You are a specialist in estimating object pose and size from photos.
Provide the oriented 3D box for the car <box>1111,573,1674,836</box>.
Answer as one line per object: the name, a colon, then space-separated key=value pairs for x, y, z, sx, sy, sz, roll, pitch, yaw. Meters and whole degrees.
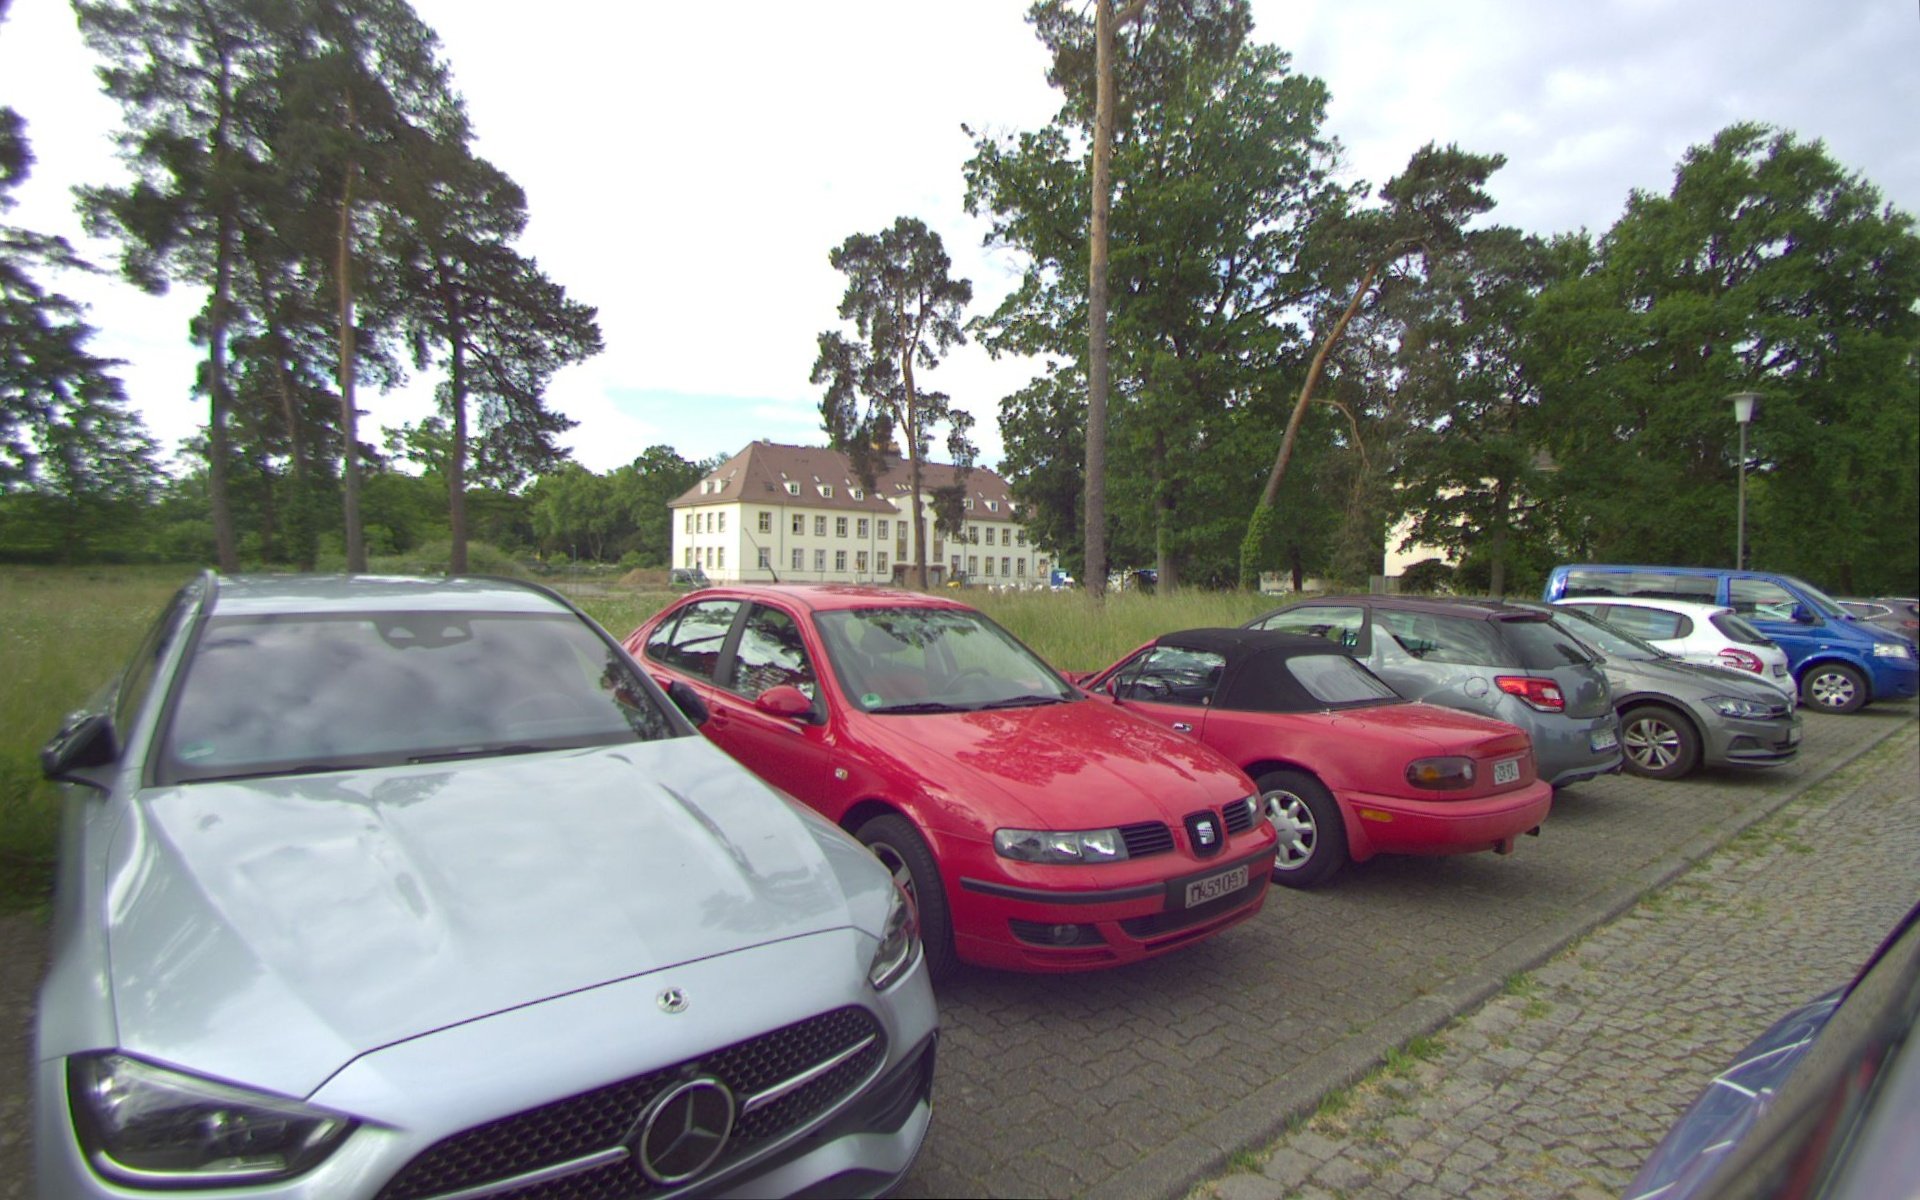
car: x=3.320 y=0.618 z=8.349 sx=1.728 sy=1.490 sz=3.870 roll=0 pitch=3 yaw=-42

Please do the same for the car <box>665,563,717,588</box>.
car: x=-27.122 y=-2.440 z=101.795 sx=5.848 sy=2.269 sz=2.282 roll=4 pitch=3 yaw=43

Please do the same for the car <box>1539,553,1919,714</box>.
car: x=11.754 y=0.359 z=15.251 sx=1.969 sy=1.969 sz=4.817 roll=0 pitch=3 yaw=-42

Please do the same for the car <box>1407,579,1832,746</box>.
car: x=7.674 y=0.595 z=12.091 sx=1.726 sy=1.490 sz=3.872 roll=0 pitch=3 yaw=-39

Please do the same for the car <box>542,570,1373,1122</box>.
car: x=-0.435 y=0.660 z=5.116 sx=1.838 sy=1.434 sz=4.271 roll=0 pitch=3 yaw=-41

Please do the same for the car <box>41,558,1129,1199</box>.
car: x=-1.794 y=0.664 z=3.405 sx=1.840 sy=1.434 sz=4.428 roll=0 pitch=3 yaw=-43

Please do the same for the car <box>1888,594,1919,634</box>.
car: x=36.950 y=0.610 z=37.299 sx=1.555 sy=1.443 sz=3.875 roll=0 pitch=3 yaw=-42

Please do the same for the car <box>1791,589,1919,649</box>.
car: x=25.653 y=0.535 z=27.986 sx=1.555 sy=1.478 sz=3.891 roll=0 pitch=3 yaw=-42

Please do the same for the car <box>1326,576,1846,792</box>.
car: x=5.789 y=0.604 z=9.737 sx=1.727 sy=1.490 sz=3.871 roll=0 pitch=3 yaw=-41

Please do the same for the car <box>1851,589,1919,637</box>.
car: x=33.295 y=0.488 z=34.532 sx=1.555 sy=1.557 sz=4.147 roll=0 pitch=3 yaw=-42

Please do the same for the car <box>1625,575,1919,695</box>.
car: x=13.698 y=0.487 z=16.947 sx=1.809 sy=1.489 sz=3.871 roll=0 pitch=5 yaw=-42

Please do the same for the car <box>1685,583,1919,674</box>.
car: x=18.081 y=0.535 z=21.304 sx=1.791 sy=1.618 sz=4.268 roll=0 pitch=3 yaw=-42

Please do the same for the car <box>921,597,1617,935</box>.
car: x=1.658 y=0.719 z=6.421 sx=1.728 sy=1.251 sz=3.870 roll=0 pitch=3 yaw=-42

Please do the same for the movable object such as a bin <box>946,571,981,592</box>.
movable object such as a bin: x=0.351 y=-1.807 z=101.363 sx=3.181 sy=2.039 sz=1.682 roll=0 pitch=1 yaw=-34
